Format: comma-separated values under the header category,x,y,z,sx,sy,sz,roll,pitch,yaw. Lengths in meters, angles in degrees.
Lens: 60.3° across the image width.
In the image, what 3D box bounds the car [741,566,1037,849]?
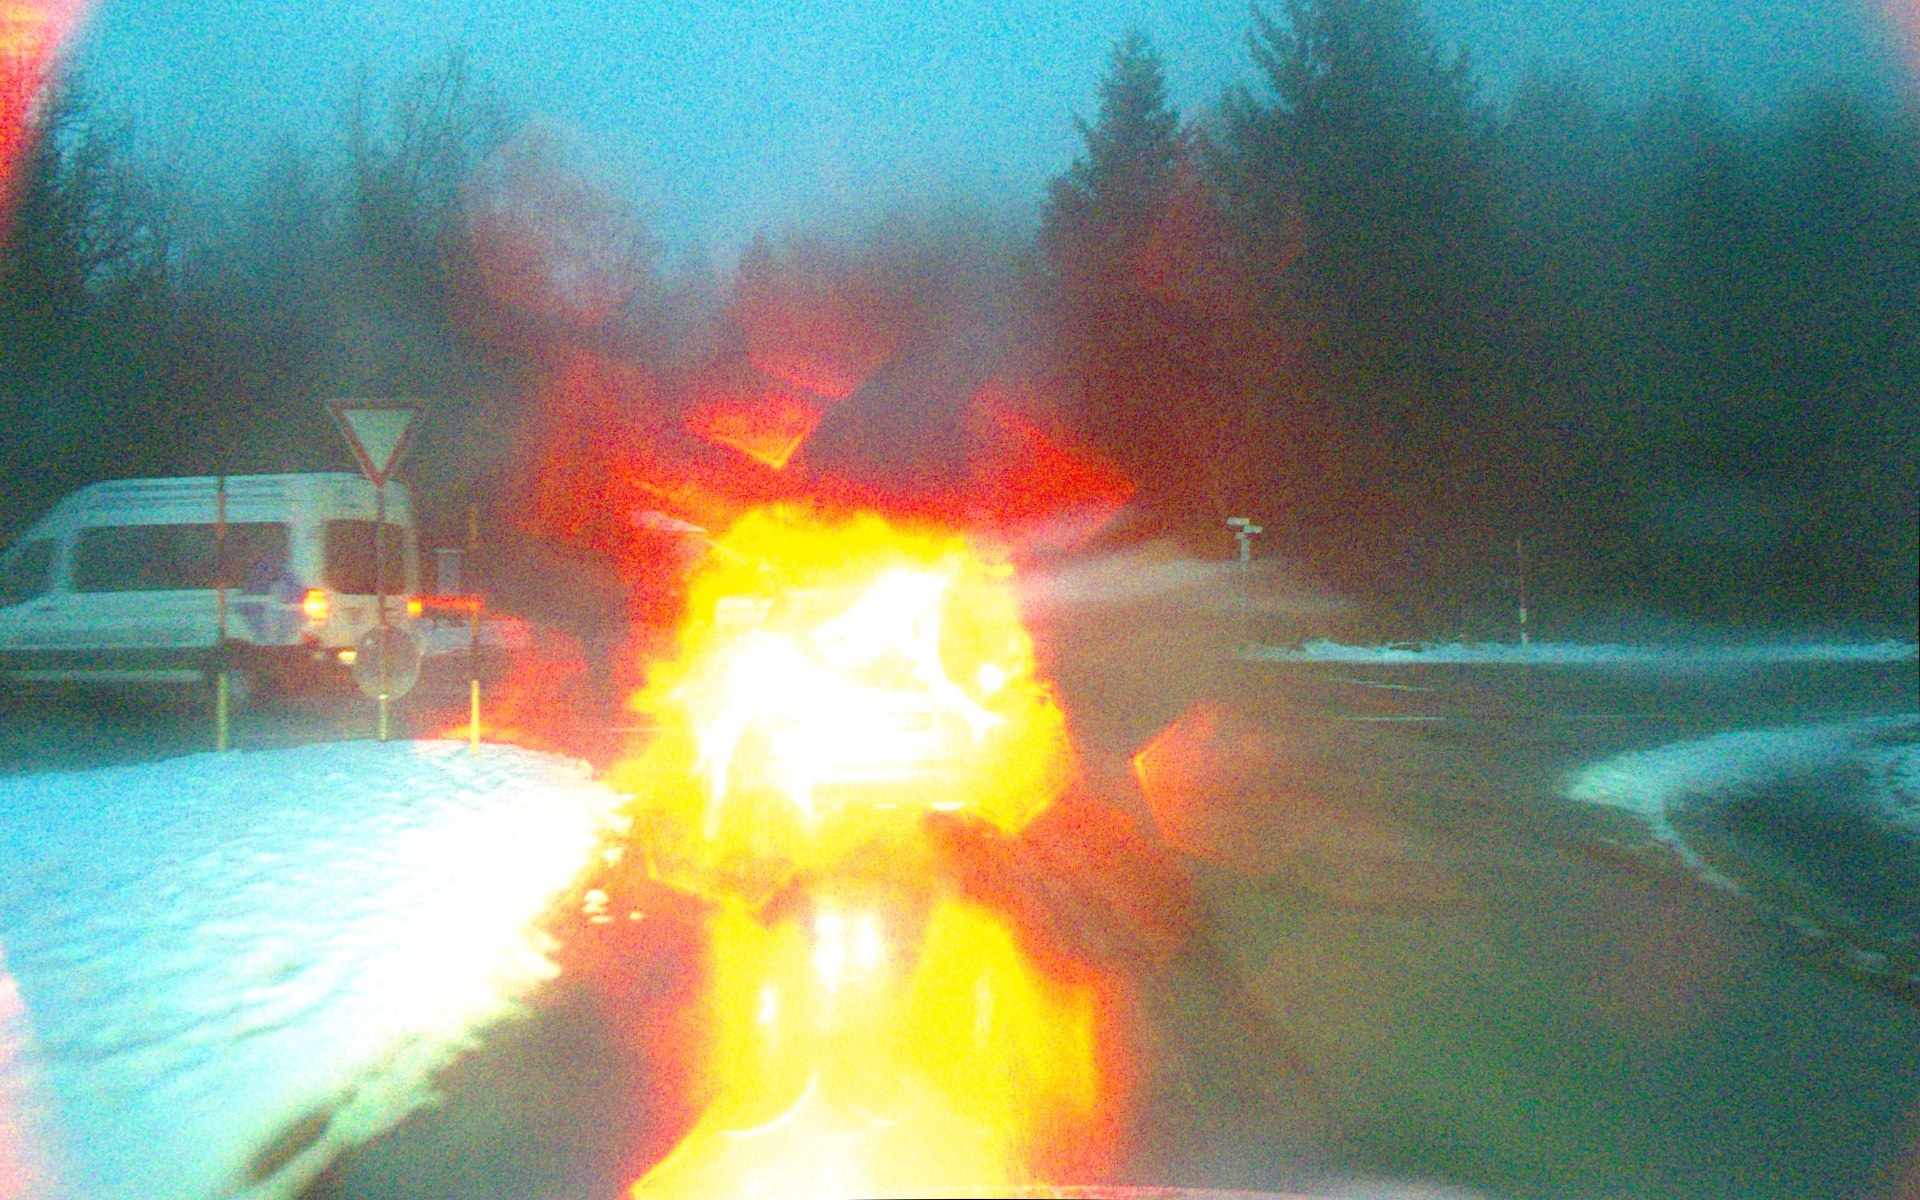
category,x,y,z,sx,sy,sz,roll,pitch,yaw
car,-0.433,0.593,11.301,1.658,1.579,3.855,1,0,-1

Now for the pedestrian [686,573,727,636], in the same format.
category,x,y,z,sx,sy,sz,roll,pitch,yaw
pedestrian,-7.573,0.136,49.430,0.940,1.860,0.926,1,-1,12

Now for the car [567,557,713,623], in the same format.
category,x,y,z,sx,sy,sz,roll,pitch,yaw
car,-9.653,-0.288,50.039,3.863,1.914,2.001,1,-1,7

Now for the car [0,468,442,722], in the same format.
category,x,y,z,sx,sy,sz,roll,pitch,yaw
car,-9.162,-0.081,19.704,5.395,2.743,2.154,1,-1,17
